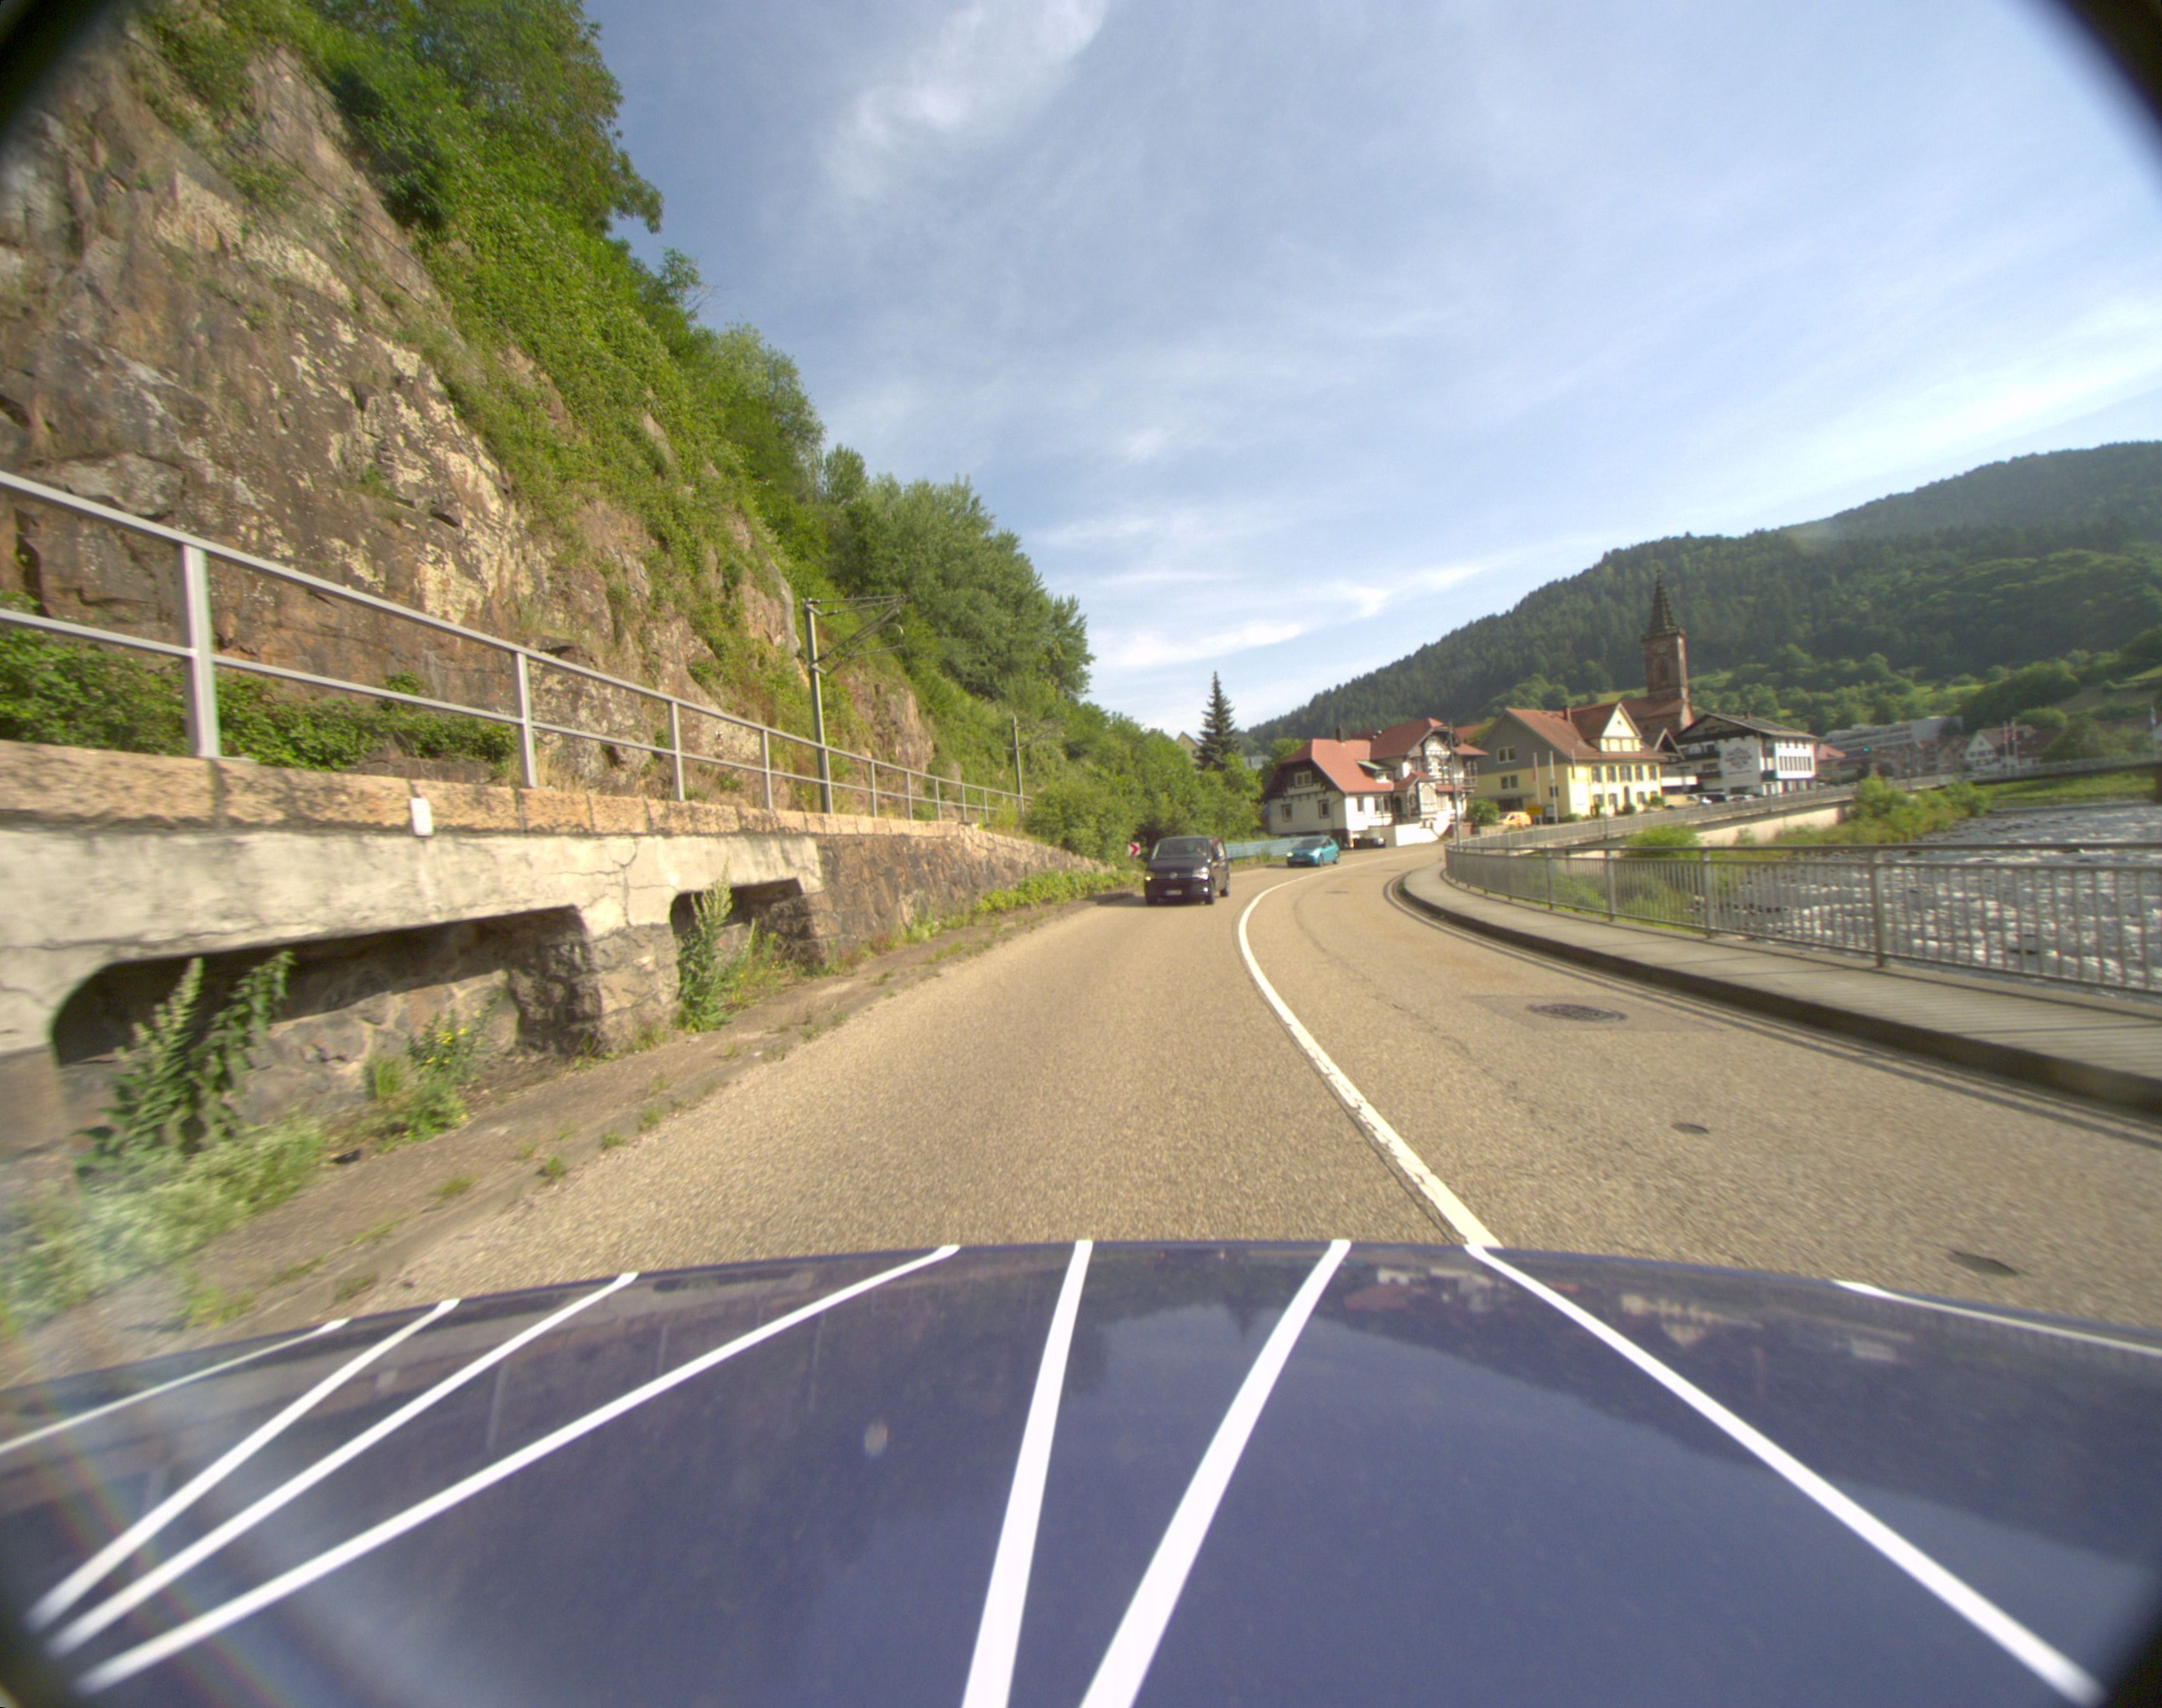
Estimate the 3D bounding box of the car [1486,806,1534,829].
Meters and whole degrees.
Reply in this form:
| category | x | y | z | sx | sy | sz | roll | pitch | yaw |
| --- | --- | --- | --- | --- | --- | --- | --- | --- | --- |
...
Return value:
| category | x | y | z | sx | sy | sz | roll | pitch | yaw |
| --- | --- | --- | --- | --- | --- | --- | --- | --- | --- |
| car | 41.734 | -3.562 | 73.916 | 4.841 | 1.987 | 1.909 | -4 | 5 | -32 |

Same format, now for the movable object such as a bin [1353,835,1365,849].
| category | x | y | z | sx | sy | sz | roll | pitch | yaw |
| --- | --- | --- | --- | --- | --- | --- | --- | --- | --- |
| movable object such as a bin | 22.446 | -0.987 | 61.348 | 0.754 | 1.056 | 0.478 | -5 | 1 | -36 |

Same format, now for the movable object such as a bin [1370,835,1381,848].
| category | x | y | z | sx | sy | sz | roll | pitch | yaw |
| --- | --- | --- | --- | --- | --- | --- | --- | --- | --- |
| movable object such as a bin | 23.258 | -0.982 | 60.051 | 0.653 | 0.931 | 0.472 | -5 | 1 | -36 |

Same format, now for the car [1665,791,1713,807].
| category | x | y | z | sx | sy | sz | roll | pitch | yaw |
| --- | --- | --- | --- | --- | --- | --- | --- | --- | --- |
| car | 77.573 | -7.041 | 97.052 | 1.715 | 1.948 | 4.445 | -5 | 6 | -29 |

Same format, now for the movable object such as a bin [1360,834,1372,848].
| category | x | y | z | sx | sy | sz | roll | pitch | yaw |
| --- | --- | --- | --- | --- | --- | --- | --- | --- | --- |
| movable object such as a bin | 22.898 | -1.016 | 60.962 | 0.754 | 1.056 | 0.478 | -5 | 1 | -36 |

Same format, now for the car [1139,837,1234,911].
| category | x | y | z | sx | sy | sz | roll | pitch | yaw |
| --- | --- | --- | --- | --- | --- | --- | --- | --- | --- |
| car | 3.277 | 0.505 | 22.685 | 1.885 | 1.953 | 4.871 | -1 | 1 | 19 |

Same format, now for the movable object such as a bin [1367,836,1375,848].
| category | x | y | z | sx | sy | sz | roll | pitch | yaw |
| --- | --- | --- | --- | --- | --- | --- | --- | --- | --- |
| movable object such as a bin | 23.125 | -0.949 | 60.563 | 0.548 | 0.895 | 0.368 | -5 | 1 | -42 |

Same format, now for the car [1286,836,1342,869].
| category | x | y | z | sx | sy | sz | roll | pitch | yaw |
| --- | --- | --- | --- | --- | --- | --- | --- | --- | --- |
| car | 12.900 | -0.104 | 41.953 | 1.679 | 1.513 | 3.871 | -2 | 3 | 37 |

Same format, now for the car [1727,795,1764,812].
| category | x | y | z | sx | sy | sz | roll | pitch | yaw |
| --- | --- | --- | --- | --- | --- | --- | --- | --- | --- |
| car | 70.378 | -5.381 | 80.508 | 4.005 | 1.634 | 1.816 | -4 | 3 | -31 |

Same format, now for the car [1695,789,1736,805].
| category | x | y | z | sx | sy | sz | roll | pitch | yaw |
| --- | --- | --- | --- | --- | --- | --- | --- | --- | --- |
| car | 80.859 | -7.201 | 96.891 | 1.373 | 1.883 | 3.749 | -6 | 5 | -29 |

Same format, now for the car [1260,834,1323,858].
| category | x | y | z | sx | sy | sz | roll | pitch | yaw |
| --- | --- | --- | --- | --- | --- | --- | --- | --- | --- |
| car | 15.767 | -0.624 | 56.846 | 4.321 | 1.460 | 1.840 | -4 | 0 | 18 |
